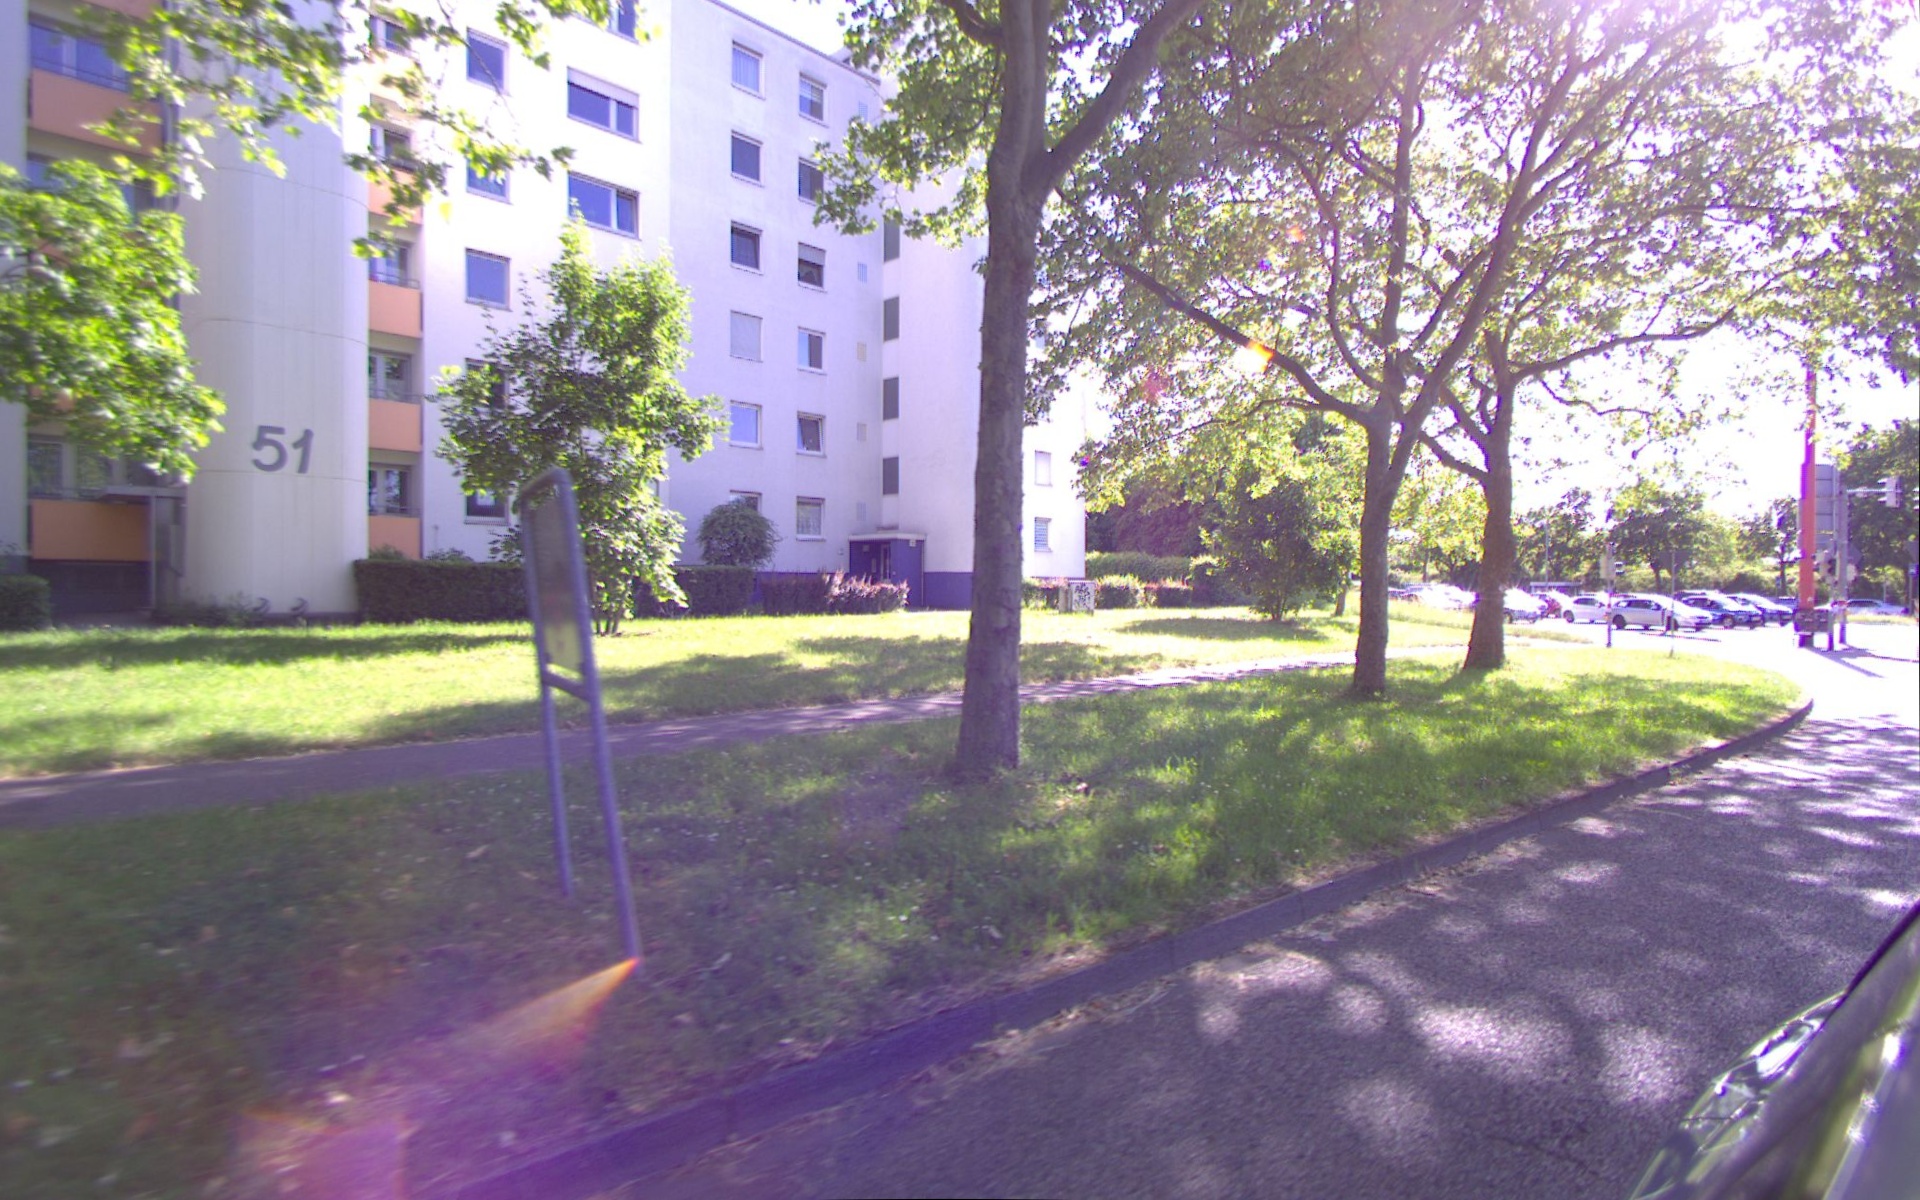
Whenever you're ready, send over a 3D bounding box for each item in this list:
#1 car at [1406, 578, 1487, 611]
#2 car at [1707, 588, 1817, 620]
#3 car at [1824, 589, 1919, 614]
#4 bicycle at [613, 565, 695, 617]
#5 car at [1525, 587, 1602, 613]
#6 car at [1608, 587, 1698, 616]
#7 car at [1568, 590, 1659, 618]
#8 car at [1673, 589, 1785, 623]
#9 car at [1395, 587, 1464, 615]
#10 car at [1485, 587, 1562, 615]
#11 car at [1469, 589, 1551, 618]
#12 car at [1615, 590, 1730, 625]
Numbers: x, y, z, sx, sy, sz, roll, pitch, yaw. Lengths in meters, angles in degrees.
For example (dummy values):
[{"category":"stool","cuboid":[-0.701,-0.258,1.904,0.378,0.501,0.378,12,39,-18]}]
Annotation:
[{"category":"car","cuboid":[32.301,-0.395,67.364,2.049,2.113,5.204,-1,1,-12]},{"category":"car","cuboid":[39.446,0.161,49.905,1.762,1.500,4.008,-1,1,-12]},{"category":"car","cuboid":[59.916,0.053,66.553,4.618,1.529,1.774,1,1,41]},{"category":"bicycle","cuboid":[-7.114,-0.211,23.589,0.499,1.120,1.772,7,5,42]},{"category":"car","cuboid":[36.758,-0.038,61.716,1.762,1.500,4.008,-1,1,-12]},{"category":"car","cuboid":[38.403,0.039,56.181,1.762,1.529,4.008,-1,1,-12]},{"category":"car","cuboid":[34.850,0.189,54.084,1.762,1.409,4.008,-1,1,-12]},{"category":"car","cuboid":[36.431,0.235,48.080,1.762,1.500,4.008,-1,1,-12]},{"category":"car","cuboid":[28.998,0.021,62.620,1.762,1.604,4.008,-1,1,-12]},{"category":"car","cuboid":[33.425,0.035,60.161,1.762,1.525,4.008,-1,1,-12]},{"category":"car","cuboid":[30.303,0.159,55.890,1.762,1.529,4.008,-1,1,-12]},{"category":"car","cuboid":[32.889,0.306,46.880,1.762,1.500,4.294,-1,1,-12]}]
